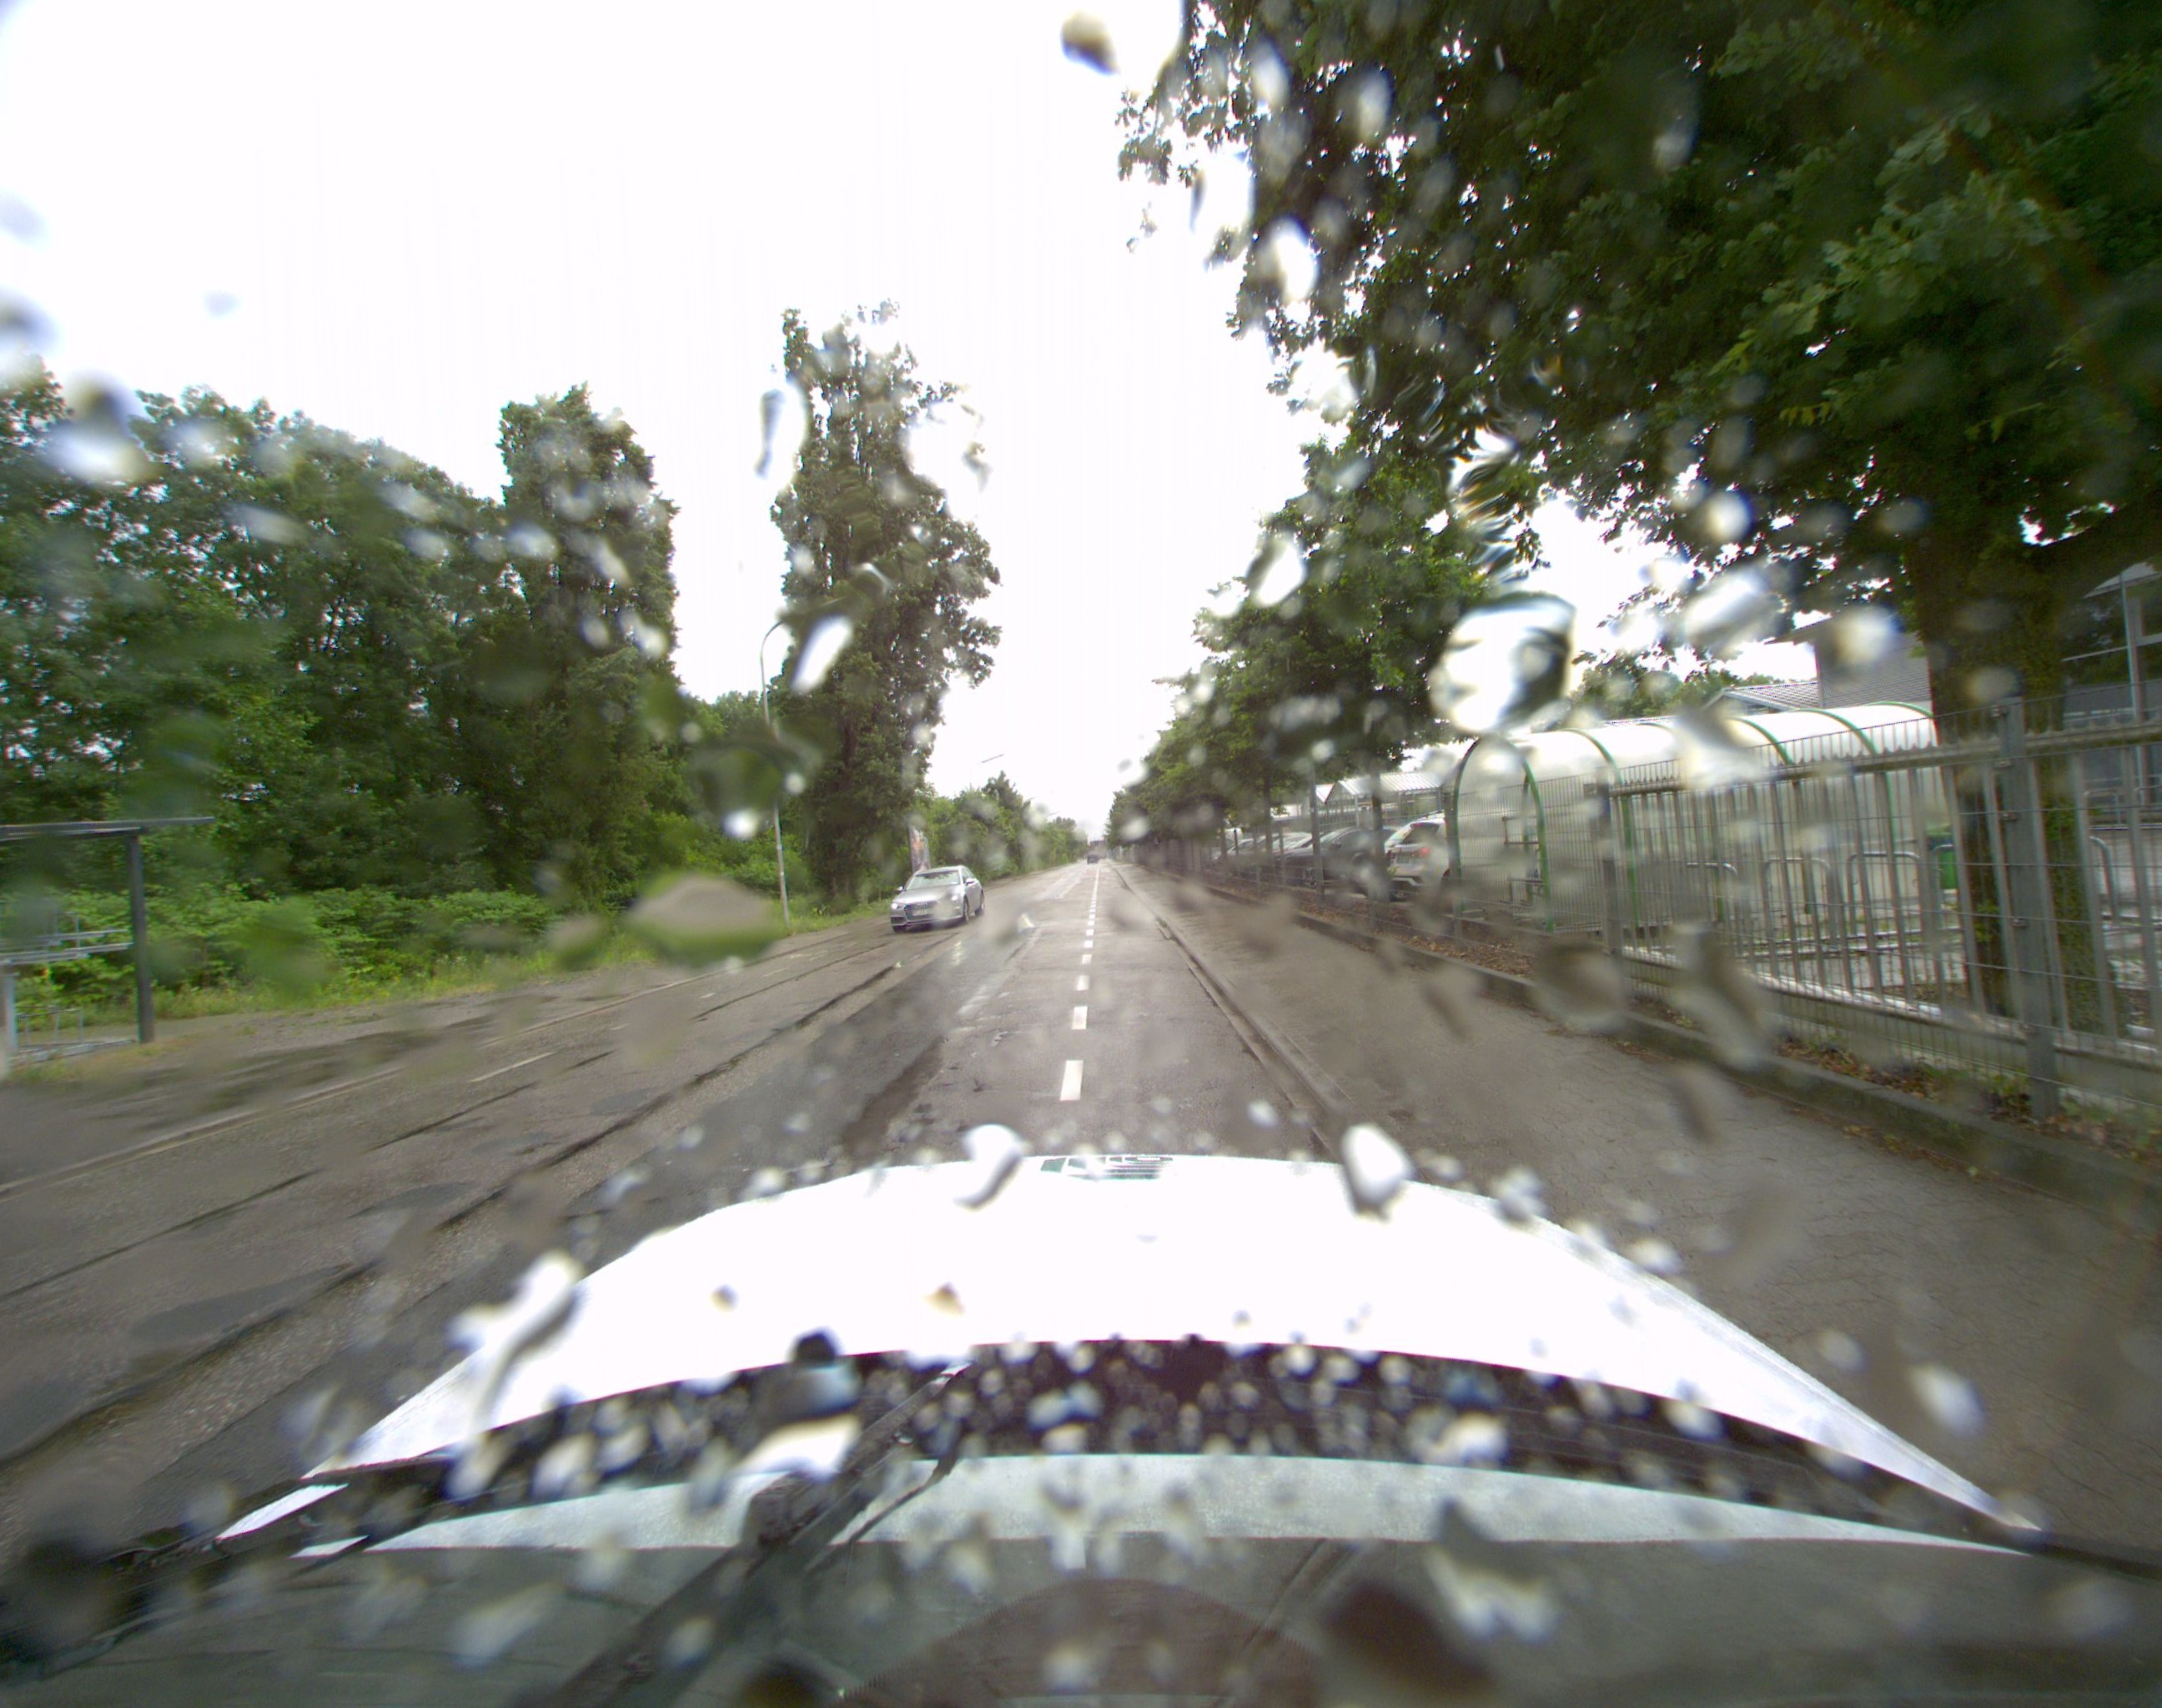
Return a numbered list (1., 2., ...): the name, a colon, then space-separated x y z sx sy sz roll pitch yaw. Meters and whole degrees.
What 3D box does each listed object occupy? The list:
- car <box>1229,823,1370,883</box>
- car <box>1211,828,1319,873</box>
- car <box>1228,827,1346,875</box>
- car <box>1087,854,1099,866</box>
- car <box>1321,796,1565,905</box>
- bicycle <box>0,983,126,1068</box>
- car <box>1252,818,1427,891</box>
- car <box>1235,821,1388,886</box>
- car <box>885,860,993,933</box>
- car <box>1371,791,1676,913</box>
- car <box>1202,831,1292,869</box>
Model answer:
1. car: 7.420 -0.040 27.843 4.203 1.618 1.820 -5 0 -6
2. car: 8.040 -0.143 35.765 4.203 1.588 1.820 -5 0 -6
3. car: 8.307 -0.122 33.105 4.203 1.534 1.820 -5 0 -6
4. car: 2.091 1.042 141.020 1.987 1.910 4.201 -6 -1 1
5. car: 7.440 -0.084 16.960 4.203 1.794 1.820 -5 0 -6
6. bicycle: -13.837 2.283 10.693 0.514 0.858 1.673 -6 0 2
7. car: 7.172 0.014 22.830 4.203 1.618 1.820 -5 0 -6
8. car: 7.210 -0.018 25.703 4.203 1.618 1.820 -5 0 -6
9. car: -3.564 1.012 21.264 1.727 1.450 4.383 -8 0 2
10. car: 7.477 -0.039 14.072 4.195 1.600 1.824 -5 0 0
11. car: 8.589 -0.219 42.360 4.197 1.588 1.823 -5 0 -2
